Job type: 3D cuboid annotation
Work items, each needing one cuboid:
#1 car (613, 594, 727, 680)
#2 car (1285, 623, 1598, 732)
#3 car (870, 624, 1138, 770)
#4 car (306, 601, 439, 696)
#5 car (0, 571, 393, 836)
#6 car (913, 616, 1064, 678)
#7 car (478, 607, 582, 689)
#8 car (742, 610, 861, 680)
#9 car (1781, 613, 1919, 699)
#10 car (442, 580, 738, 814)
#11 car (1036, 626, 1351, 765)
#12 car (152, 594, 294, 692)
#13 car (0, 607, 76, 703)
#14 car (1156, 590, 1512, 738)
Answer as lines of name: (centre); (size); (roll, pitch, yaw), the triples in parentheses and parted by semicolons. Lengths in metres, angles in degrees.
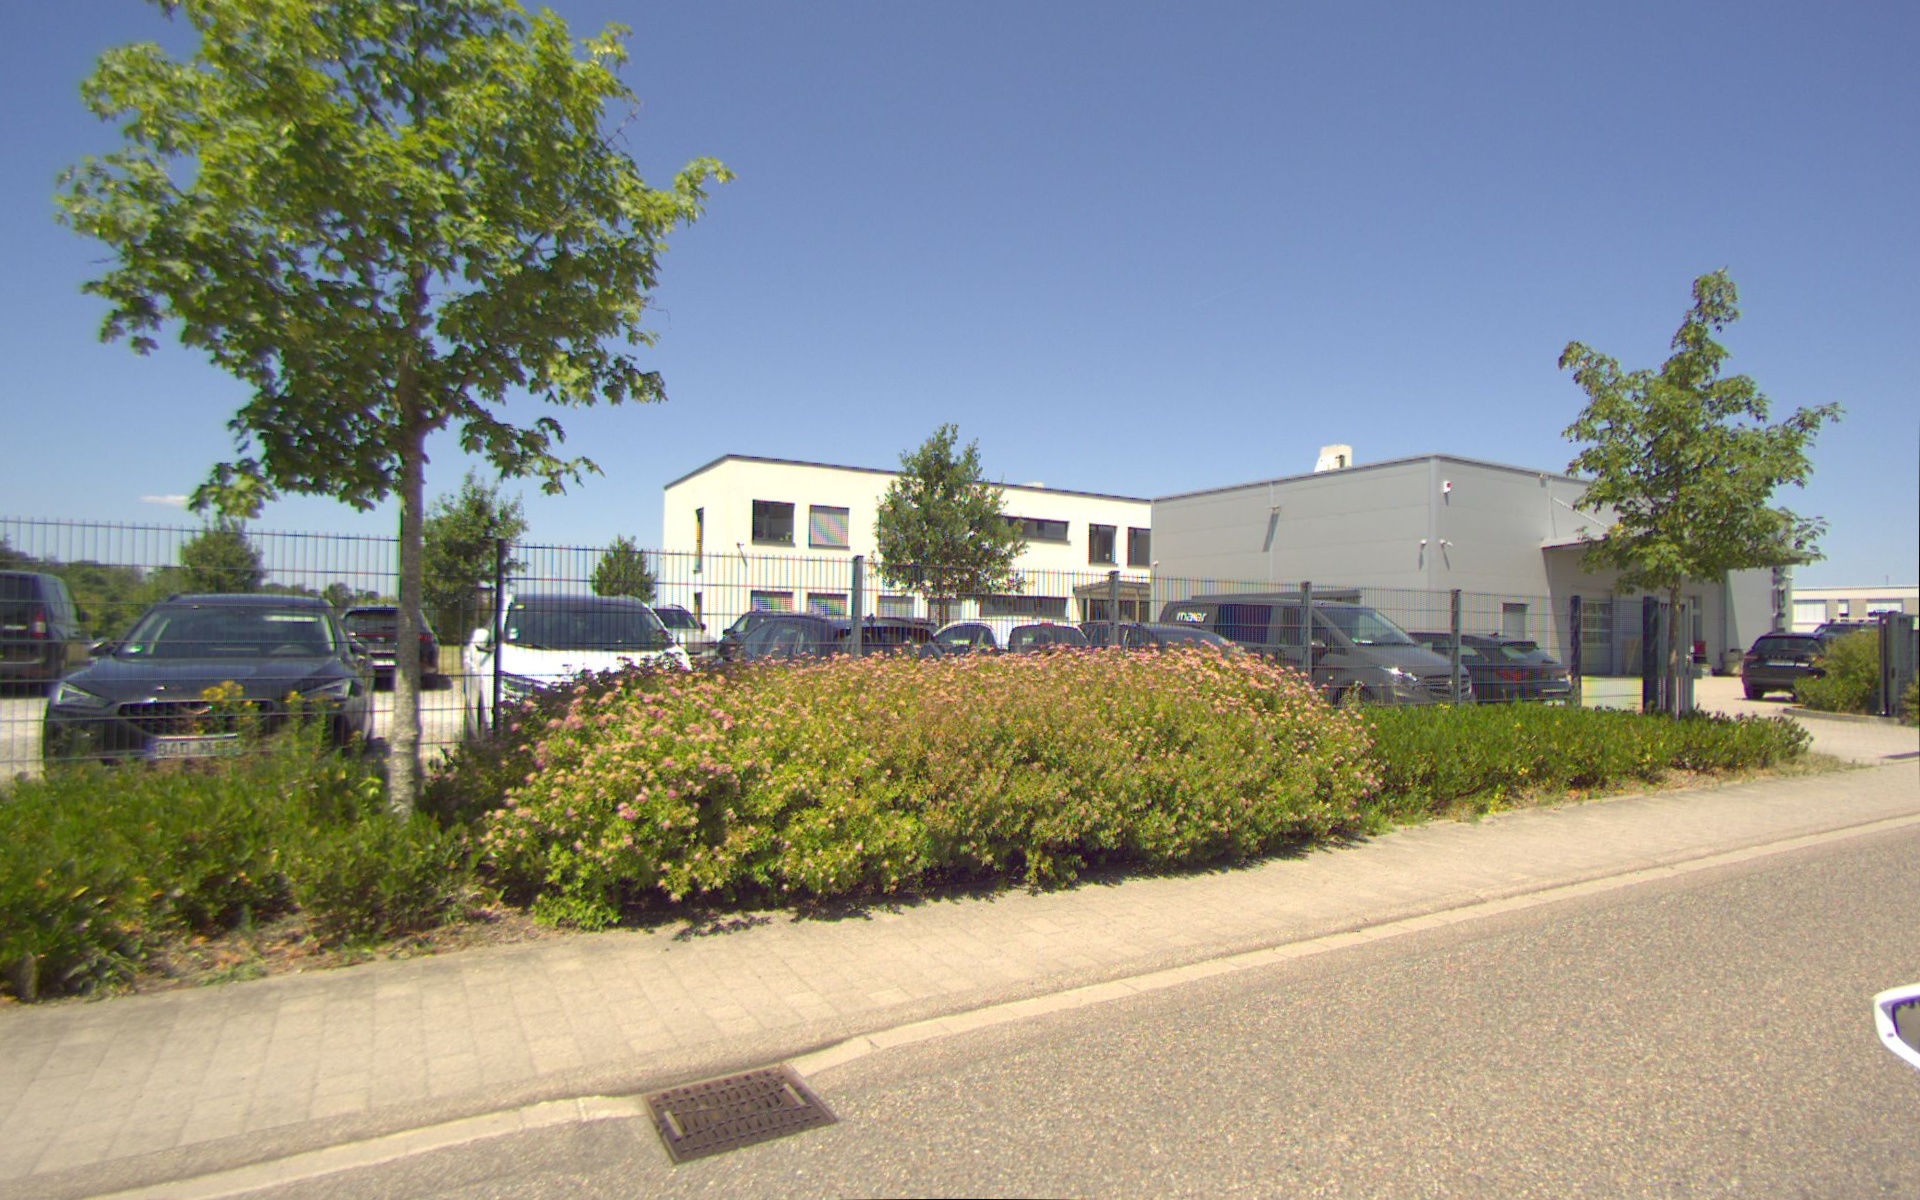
car: (-6.047, 0.728, 20.755); (1.460, 1.605, 3.455); (2, -1, -30)
car: (7.656, 1.149, 16.417); (1.941, 1.465, 4.284); (2, -1, -30)
car: (0.427, 1.097, 12.691); (1.882, 1.518, 3.354); (2, -1, -30)
car: (-10.532, 0.804, 18.048); (1.841, 1.505, 3.967); (2, -1, -31)
car: (-5.949, 0.664, 8.429); (1.976, 1.556, 4.712); (2, -1, -29)
car: (0.612, 1.100, 24.782); (1.859, 1.368, 4.087); (2, -1, -30)
car: (-8.441, 0.881, 19.589); (1.460, 1.433, 3.455); (2, -1, -30)
car: (-3.598, 0.952, 22.342); (1.460, 1.433, 3.455); (2, -1, -30)
car: (24.739, 1.508, 27.417); (4.636, 2.126, 1.992); (2, 0, -29)
car: (-3.782, 0.742, 9.652); (1.976, 1.650, 4.712); (2, -1, -29)
car: (3.003, 1.174, 13.813); (1.882, 1.518, 4.173); (2, -1, -30)
car: (-12.017, 0.658, 16.559); (1.460, 1.433, 3.455); (2, -1, -30)
car: (-14.474, 0.763, 14.876); (1.476, 1.311, 2.996); (2, -1, -30)
car: (5.431, 0.852, 15.385); (1.941, 1.875, 5.035); (2, -1, -30)
